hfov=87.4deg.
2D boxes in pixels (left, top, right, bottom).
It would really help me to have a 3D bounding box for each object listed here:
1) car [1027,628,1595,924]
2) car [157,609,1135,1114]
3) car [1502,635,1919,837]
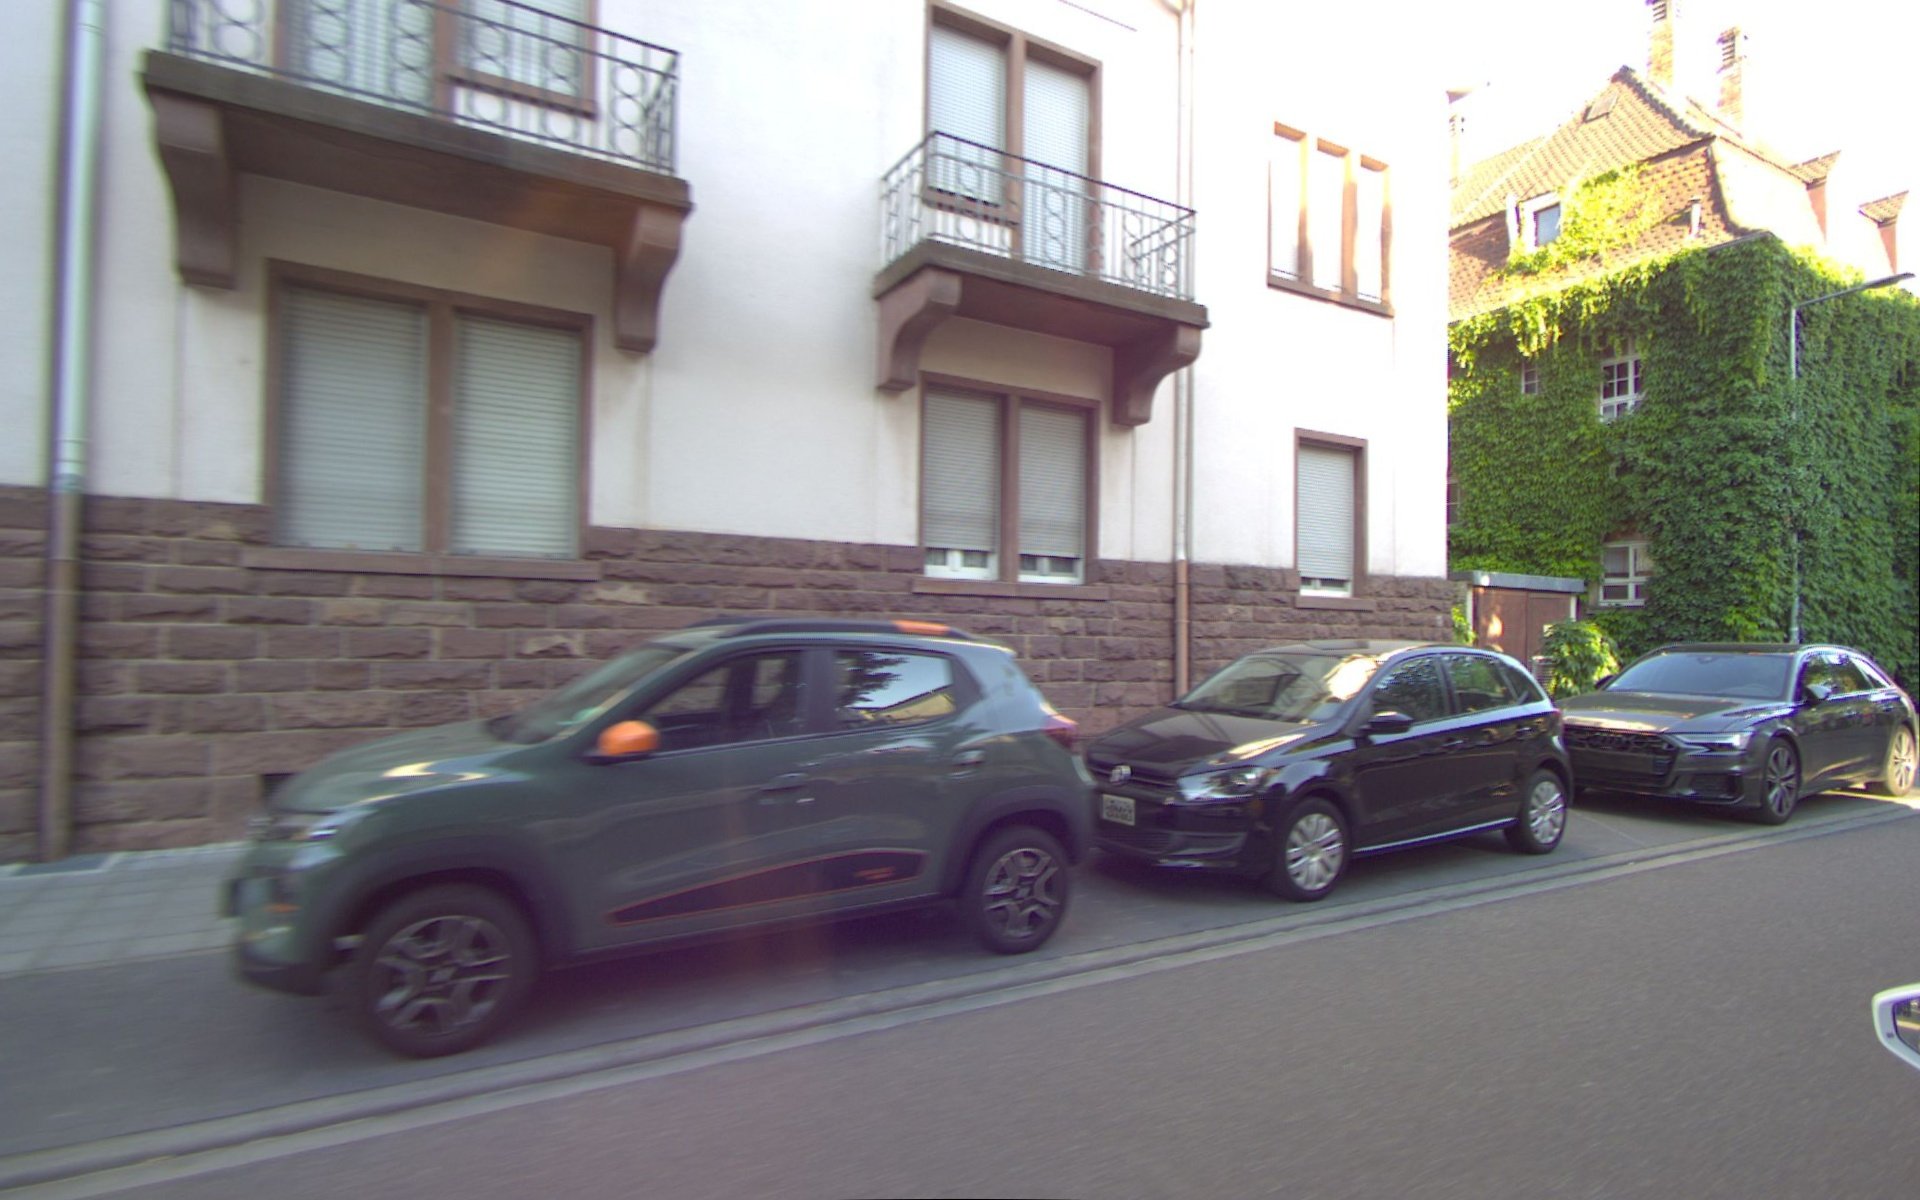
[{"bbox_3d":[2.480,0.960,6.827,3.802,1.466,1.644,2,-1,-32],"label":"car"},{"bbox_3d":[-1.173,0.835,4.659,3.719,1.505,1.646,2,-1,-30],"label":"car"},{"bbox_3d":[7.380,1.114,9.630,4.725,1.481,1.782,2,-1,-33],"label":"car"}]
